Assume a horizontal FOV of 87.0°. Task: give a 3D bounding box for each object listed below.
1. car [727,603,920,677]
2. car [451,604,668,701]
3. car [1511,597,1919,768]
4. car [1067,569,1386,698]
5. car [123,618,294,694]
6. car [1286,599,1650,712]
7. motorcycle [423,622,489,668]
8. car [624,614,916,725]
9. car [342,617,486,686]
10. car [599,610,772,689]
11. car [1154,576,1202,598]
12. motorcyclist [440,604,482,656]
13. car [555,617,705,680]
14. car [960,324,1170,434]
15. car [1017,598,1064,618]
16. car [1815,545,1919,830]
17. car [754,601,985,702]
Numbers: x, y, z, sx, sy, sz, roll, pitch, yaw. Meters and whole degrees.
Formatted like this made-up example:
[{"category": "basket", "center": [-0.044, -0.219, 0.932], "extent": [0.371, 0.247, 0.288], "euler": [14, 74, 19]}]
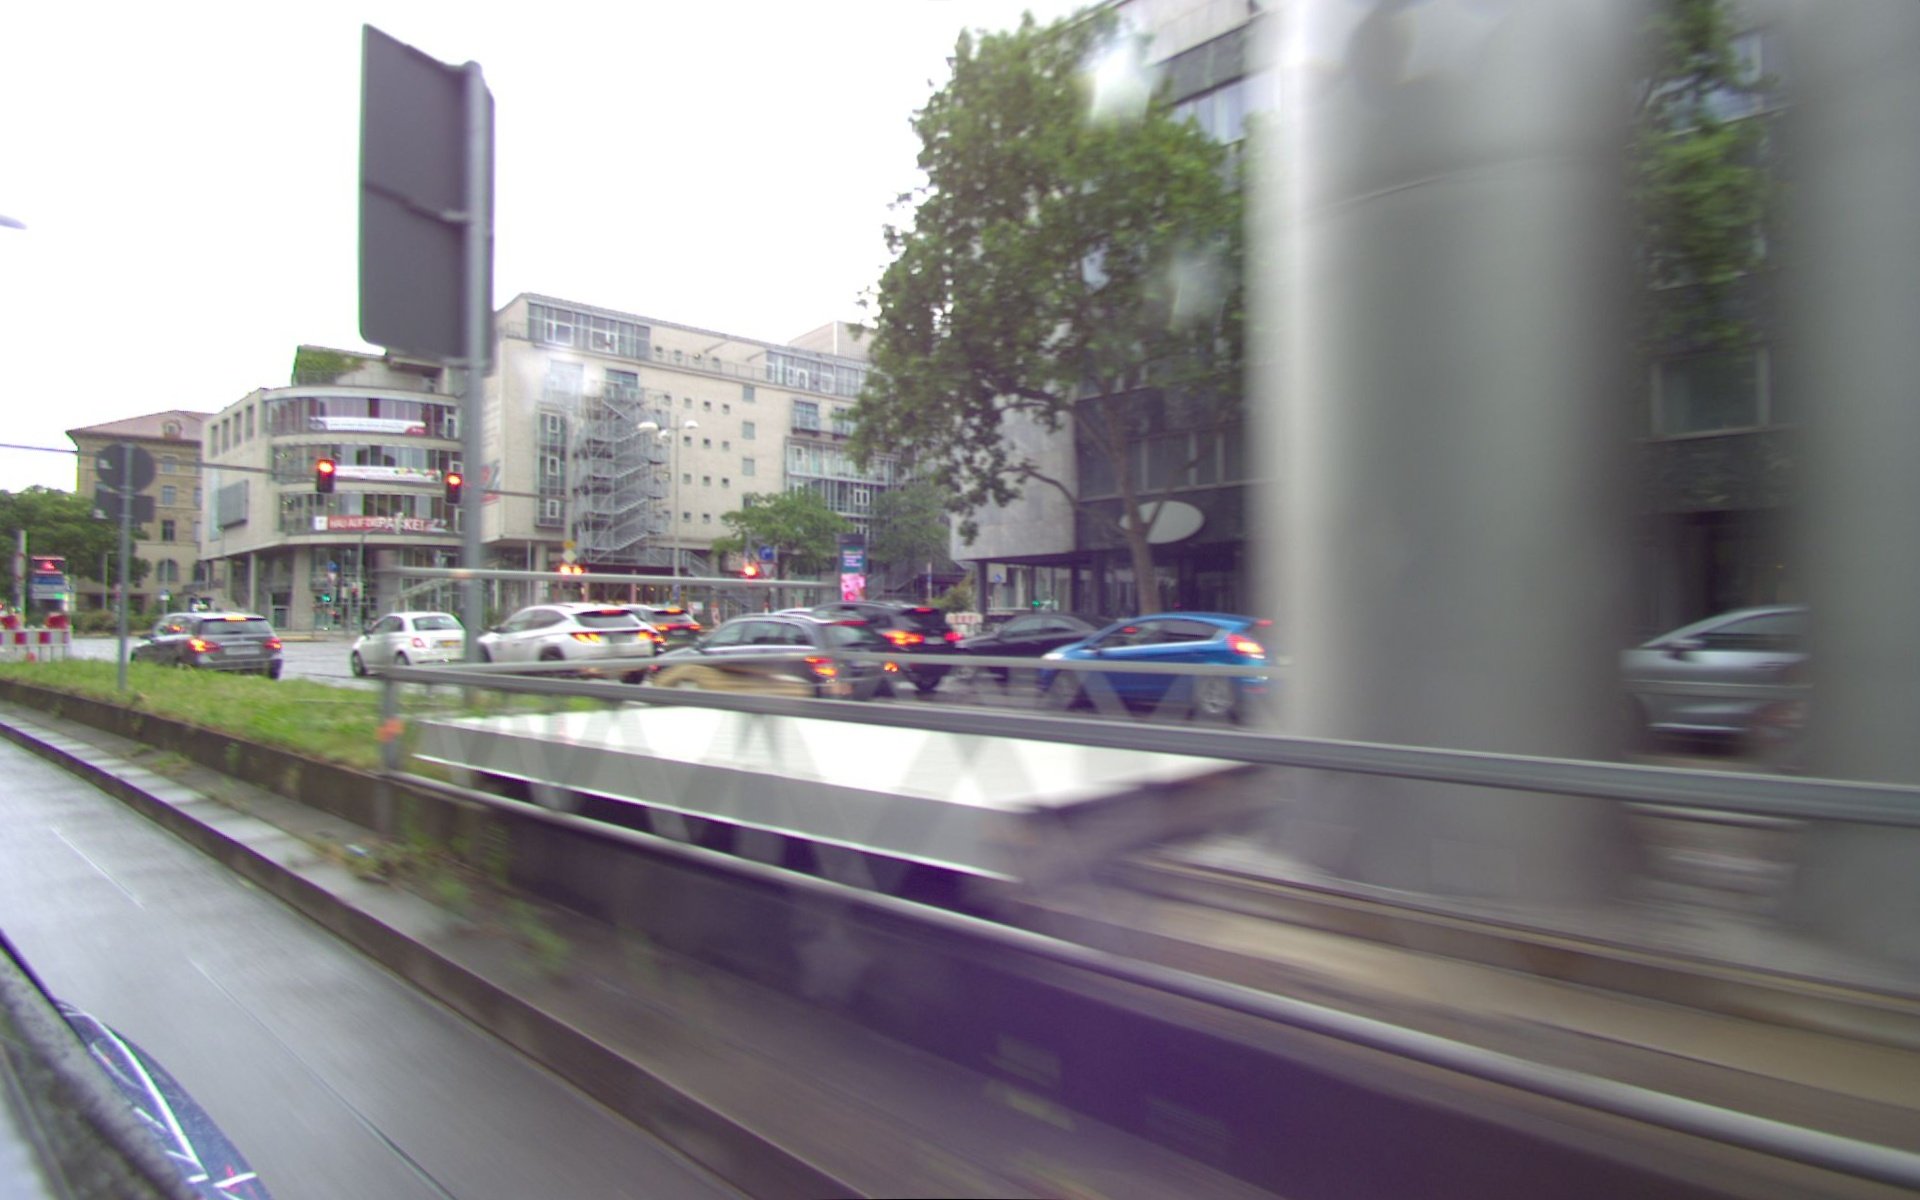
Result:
[{"category": "car", "center": [-3.336, 0.894, 24.265], "extent": [4.582, 1.616, 1.974], "euler": [-1, -1, 38]}, {"category": "car", "center": [-7.970, 0.969, 19.919], "extent": [4.793, 1.698, 1.858], "euler": [-1, -1, 39]}, {"category": "car", "center": [8.270, 0.749, 10.147], "extent": [4.565, 1.502, 1.702], "euler": [-2, -1, 40]}, {"category": "car", "center": [3.666, 0.431, 14.276], "extent": [3.996, 1.577, 1.736], "euler": [-1, -1, 39]}, {"category": "car", "center": [-16.440, 1.170, 22.088], "extent": [4.155, 1.493, 1.827], "euler": [-1, -1, 36]}, {"category": "car", "center": [7.523, 0.799, 15.263], "extent": [4.584, 1.457, 1.871], "euler": [-3, -2, 40]}, {"category": "motorcycle", "center": [-13.923, 1.220, 27.941], "extent": [2.037, 1.237, 0.712], "euler": [-1, -1, 34]}, {"category": "car", "center": [-3.097, 0.986, 15.785], "extent": [4.913, 1.462, 1.824], "euler": [-2, -1, 41]}, {"category": "car", "center": [-12.896, 1.174, 23.846], "extent": [3.424, 1.487, 1.702], "euler": [-1, -1, 36]}, {"category": "car", "center": [-6.146, 1.034, 22.485], "extent": [3.996, 1.577, 1.736], "euler": [-1, -1, 39]}, {"category": "car", "center": [18.914, -1.105, 87.759], "extent": [4.271, 1.807, 2.002], "euler": [-1, -1, -43]}, {"category": "motorcyclist", "center": [-13.709, 0.813, 27.803], "extent": [0.731, 1.402, 0.780], "euler": [-2, -1, 34]}, {"category": "car", "center": [-9.367, 1.309, 28.582], "extent": [4.655, 1.630, 1.741], "euler": [-1, -1, 38]}, {"category": "car", "center": [2.161, -4.536, 21.277], "extent": [3.973, 1.398, 1.974], "euler": [-1, -1, 38]}, {"category": "car", "center": [7.504, 0.738, 94.144], "extent": [4.271, 1.807, 2.002], "euler": [-1, -1, -43]}, {"category": "car", "center": [8.178, 0.511, 5.684], "extent": [5.105, 1.780, 1.817], "euler": [-2, -1, 40]}, {"category": "car", "center": [-1.794, 0.901, 19.011], "extent": [4.411, 1.678, 1.824], "euler": [-2, -2, 42]}]
